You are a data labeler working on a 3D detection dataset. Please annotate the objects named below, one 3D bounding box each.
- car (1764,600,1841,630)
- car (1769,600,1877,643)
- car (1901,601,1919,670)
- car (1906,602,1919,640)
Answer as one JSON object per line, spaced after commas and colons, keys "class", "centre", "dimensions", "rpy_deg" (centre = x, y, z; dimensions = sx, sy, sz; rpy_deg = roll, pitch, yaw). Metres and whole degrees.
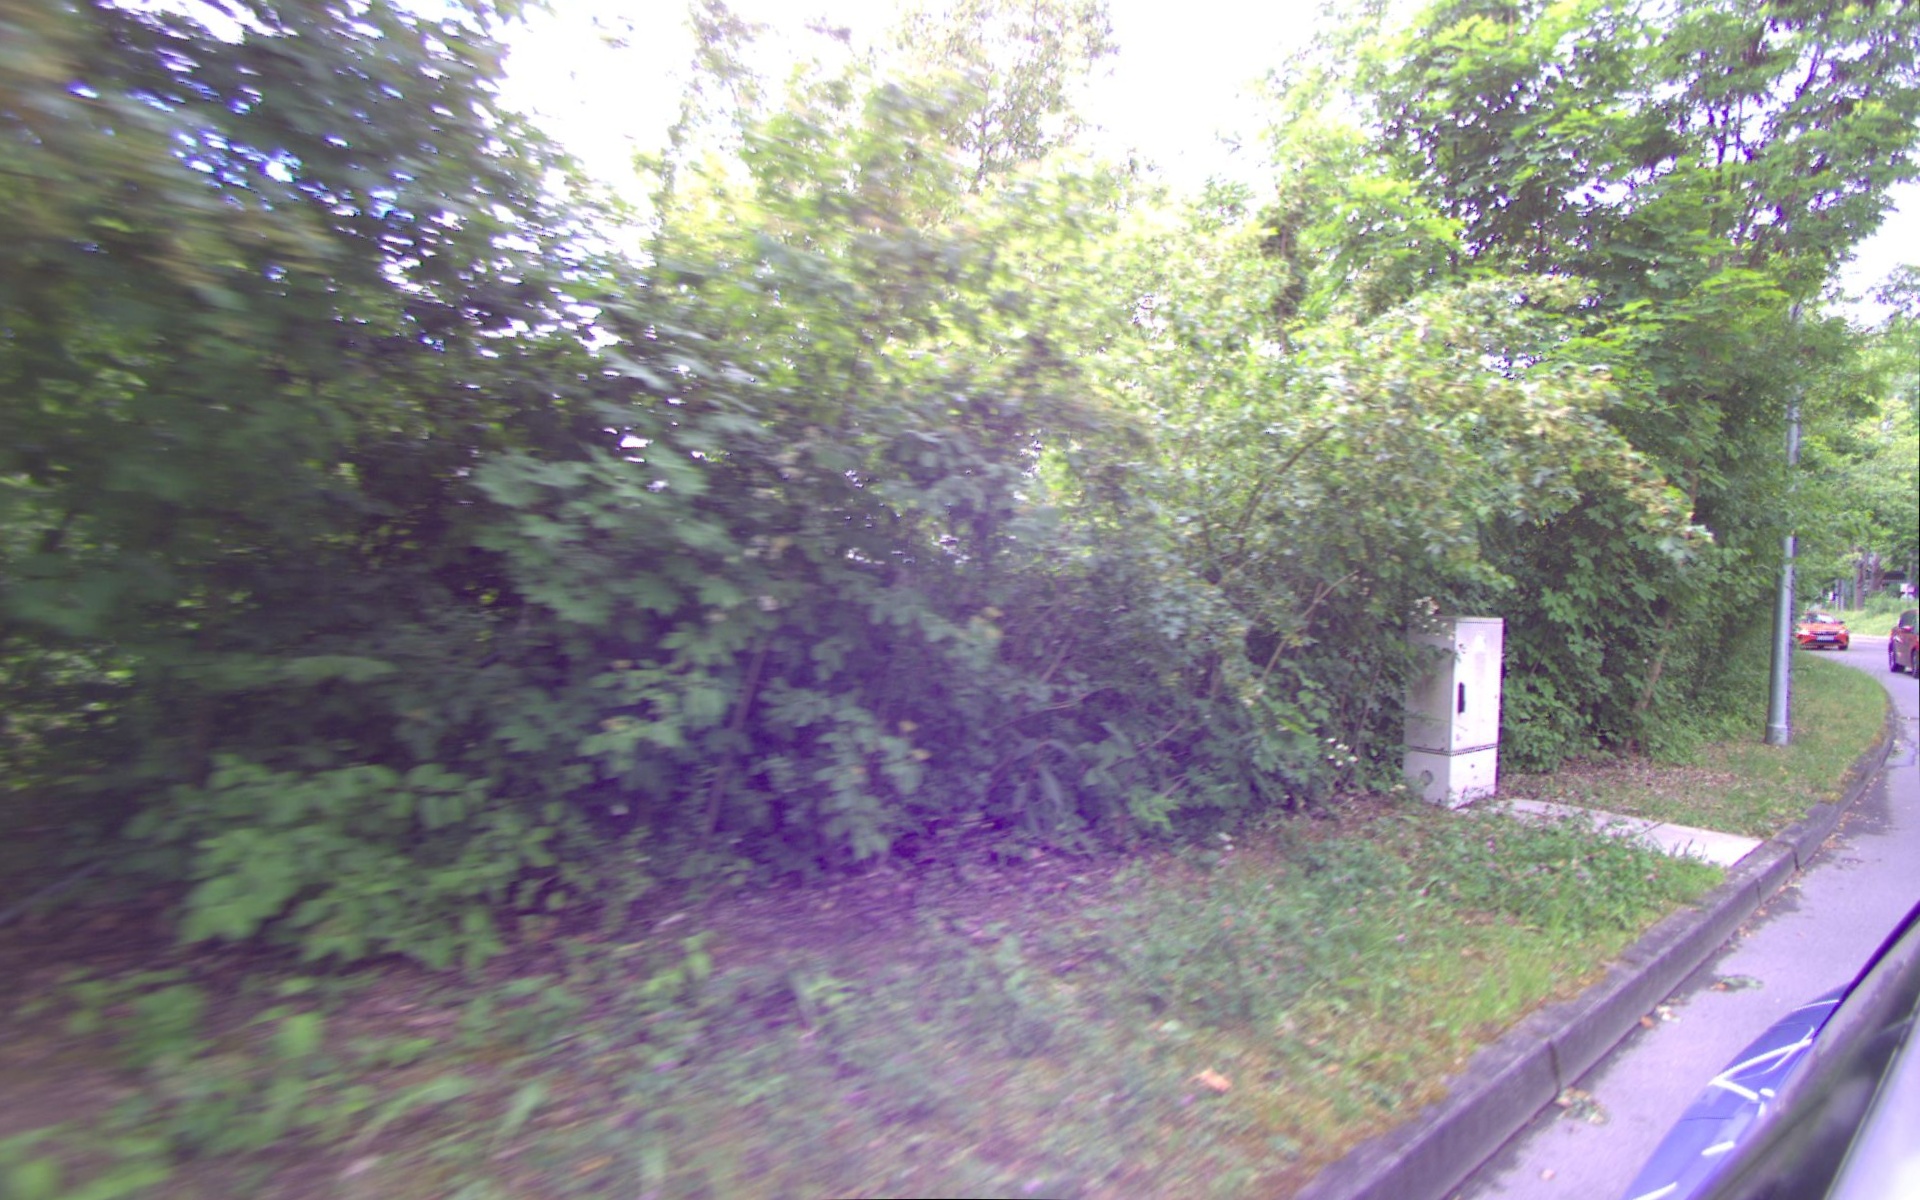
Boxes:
{"class": "car", "centre": [45.738, 0.795, 55.033], "dimensions": [1.829, 1.510, 3.977], "rpy_deg": [1, 0, 18]}
{"class": "car", "centre": [33.063, 0.778, 38.907], "dimensions": [1.926, 1.551, 4.056], "rpy_deg": [0, 0, 22]}
{"class": "car", "centre": [24.134, 0.854, 24.234], "dimensions": [1.936, 1.578, 4.297], "rpy_deg": [0, 1, 37]}
{"class": "car", "centre": [38.445, 0.849, 38.865], "dimensions": [1.833, 1.510, 3.968], "rpy_deg": [1, 0, 23]}
